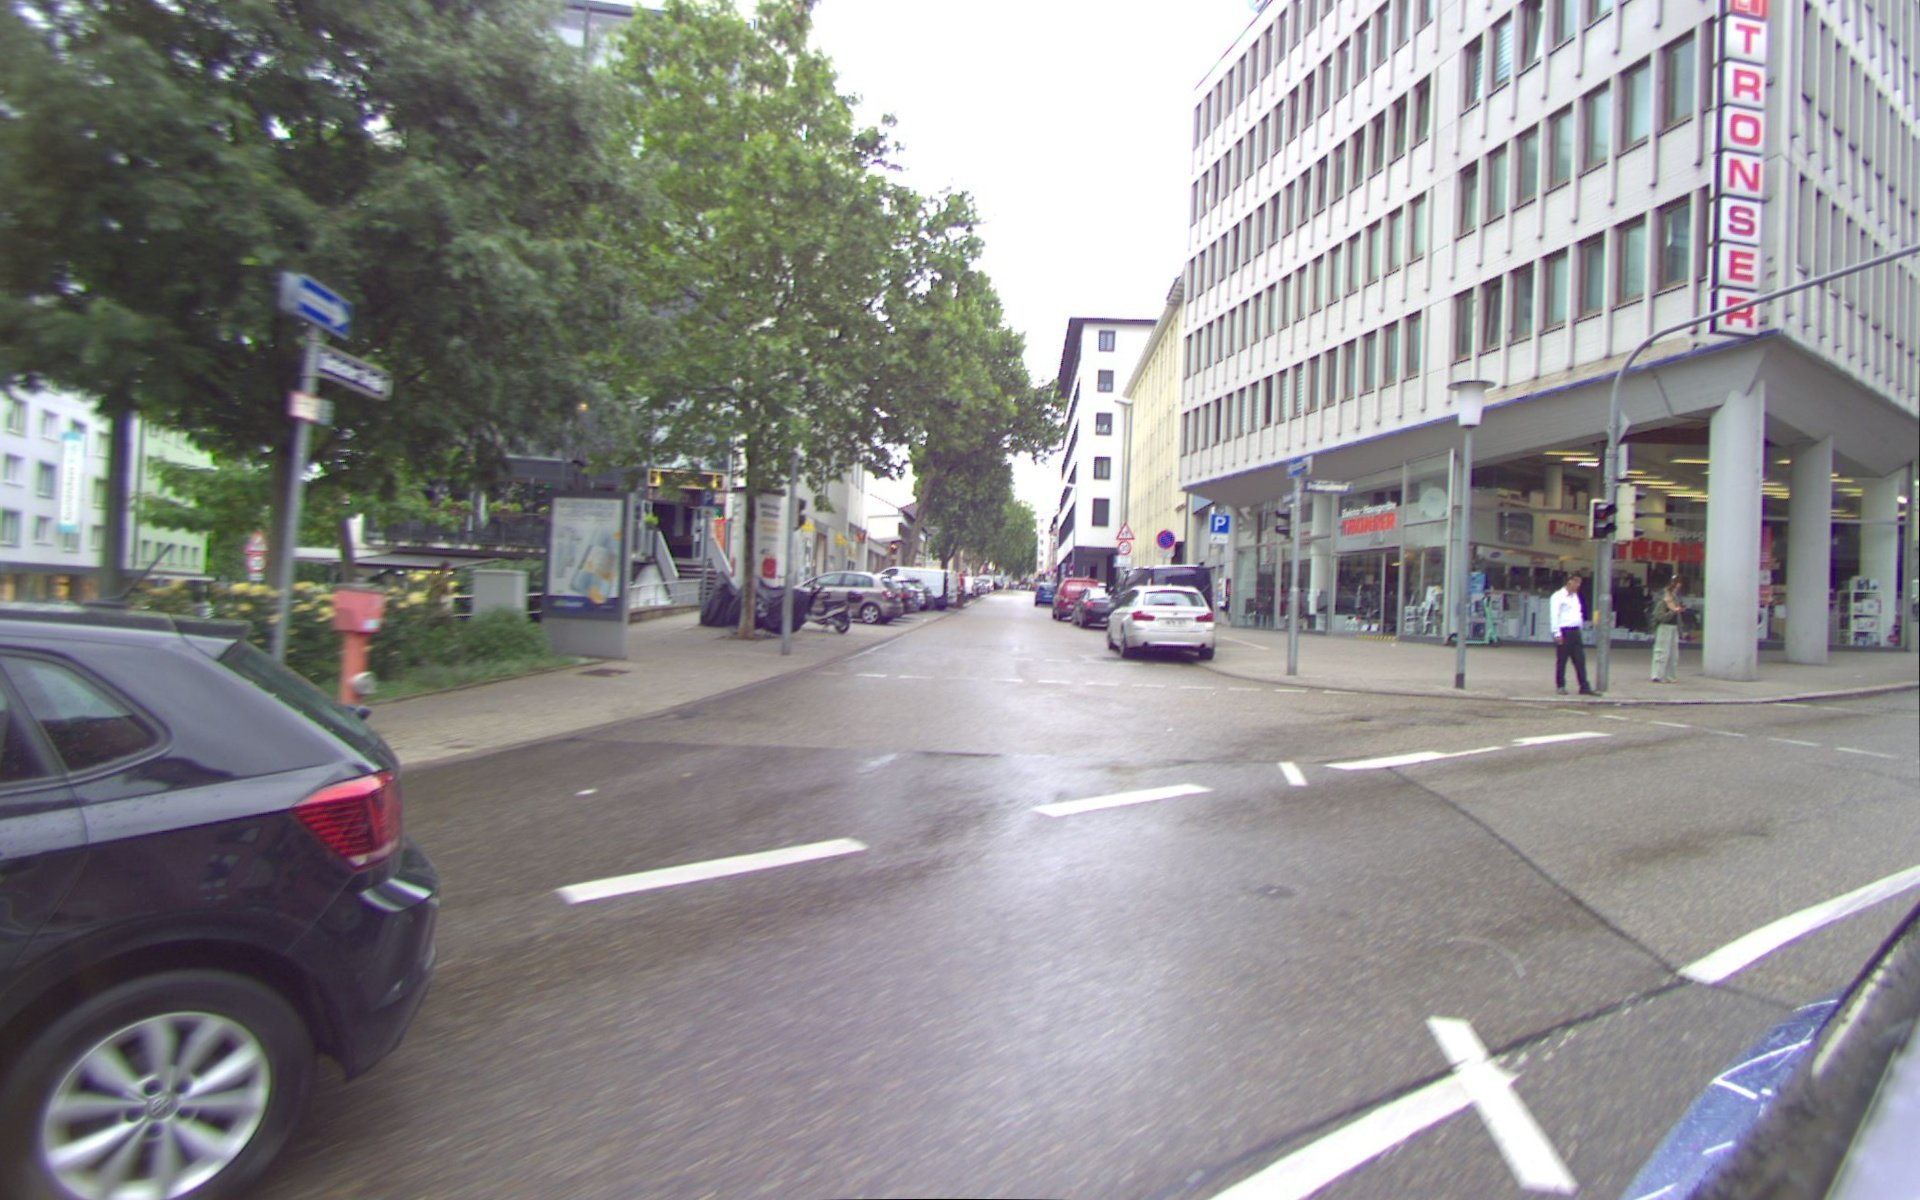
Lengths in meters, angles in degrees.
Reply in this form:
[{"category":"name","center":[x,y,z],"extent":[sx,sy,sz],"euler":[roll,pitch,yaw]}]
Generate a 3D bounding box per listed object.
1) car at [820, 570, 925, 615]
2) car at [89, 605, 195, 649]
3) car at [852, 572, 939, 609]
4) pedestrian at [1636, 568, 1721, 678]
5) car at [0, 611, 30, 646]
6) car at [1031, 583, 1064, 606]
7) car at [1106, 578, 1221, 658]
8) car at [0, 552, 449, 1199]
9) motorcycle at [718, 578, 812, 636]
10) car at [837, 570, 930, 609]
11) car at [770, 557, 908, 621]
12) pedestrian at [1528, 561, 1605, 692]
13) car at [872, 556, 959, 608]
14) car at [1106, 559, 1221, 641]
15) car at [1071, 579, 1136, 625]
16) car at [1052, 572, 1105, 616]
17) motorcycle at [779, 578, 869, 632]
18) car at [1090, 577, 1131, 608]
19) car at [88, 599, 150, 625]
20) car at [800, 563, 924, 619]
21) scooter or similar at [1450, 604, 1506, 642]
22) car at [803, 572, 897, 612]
[{"category":"car","center":[-3.259,-0.302,37.369],"extent":[3.660,1.573,1.610],"euler":[1,1,32]},{"category":"car","center":[-30.691,0.985,38.116],"extent":[1.790,1.440,4.209],"euler":[5,-2,-21]},{"category":"car","center":[-2.940,-0.437,46.117],"extent":[3.653,1.573,1.612],"euler":[1,-1,27]},{"category":"pedestrian","center":[11.624,0.350,16.389],"extent":[0.812,1.710,0.725],"euler":[0,3,-15]},{"category":"car","center":[-42.956,1.221,44.428],"extent":[1.791,1.431,4.208],"euler":[5,-2,-24]},{"category":"car","center":[5.999,-0.394,69.809],"extent":[1.963,1.513,3.999],"euler":[0,1,1]},{"category":"car","center":[4.236,0.304,21.764],"extent":[1.824,1.513,4.847],"euler":[0,1,4]},{"category":"car","center":[-3.362,0.607,1.984],"extent":[3.928,1.495,1.692],"euler":[1,1,-40]},{"category":"motorcycle","center":[-4.336,0.155,22.574],"extent":[1.909,1.130,0.628],"euler":[4,1,8]},{"category":"car","center":[-3.274,-0.471,43.210],"extent":[3.653,1.573,1.613],"euler":[1,1,27]},{"category":"car","center":[-3.722,-0.342,31.448],"extent":[3.874,1.655,1.623],"euler":[5,1,10]},{"category":"pedestrian","center":[8.908,0.356,14.864],"extent":[0.816,1.840,0.722],"euler":[-2,3,-43]},{"category":"car","center":[-2.129,-0.881,48.741],"extent":[3.797,2.430,1.893],"euler":[0,1,18]},{"category":"car","center":[5.341,-0.060,27.290],"extent":[1.923,2.022,4.810],"euler":[0,1,-3]},{"category":"car","center":[5.039,0.036,35.978],"extent":[1.808,1.513,4.135],"euler":[0,1,1]},{"category":"car","center":[4.946,-0.296,42.843],"extent":[1.852,1.786,3.999],"euler":[0,1,1]},{"category":"motorcycle","center":[-3.329,0.115,24.805],"extent":[2.065,1.130,0.625],"euler":[5,2,19]},{"category":"car","center":[9.005,-0.473,61.019],"extent":[1.963,1.803,3.999],"euler":[0,1,1]},{"category":"car","center":[-52.615,0.730,63.400],"extent":[1.791,1.431,4.208],"euler":[5,-2,-24]},{"category":"car","center":[-3.290,-0.328,34.083],"extent":[3.792,1.572,1.619],"euler":[5,2,17]},{"category":"scooter or similar","center":[11.934,0.525,23.313],"extent":[1.106,0.834,0.307],"euler":[1,0,6]},{"category":"car","center":[-4.508,-0.355,41.323],"extent":[3.665,1.573,1.608],"euler":[1,1,35]}]
